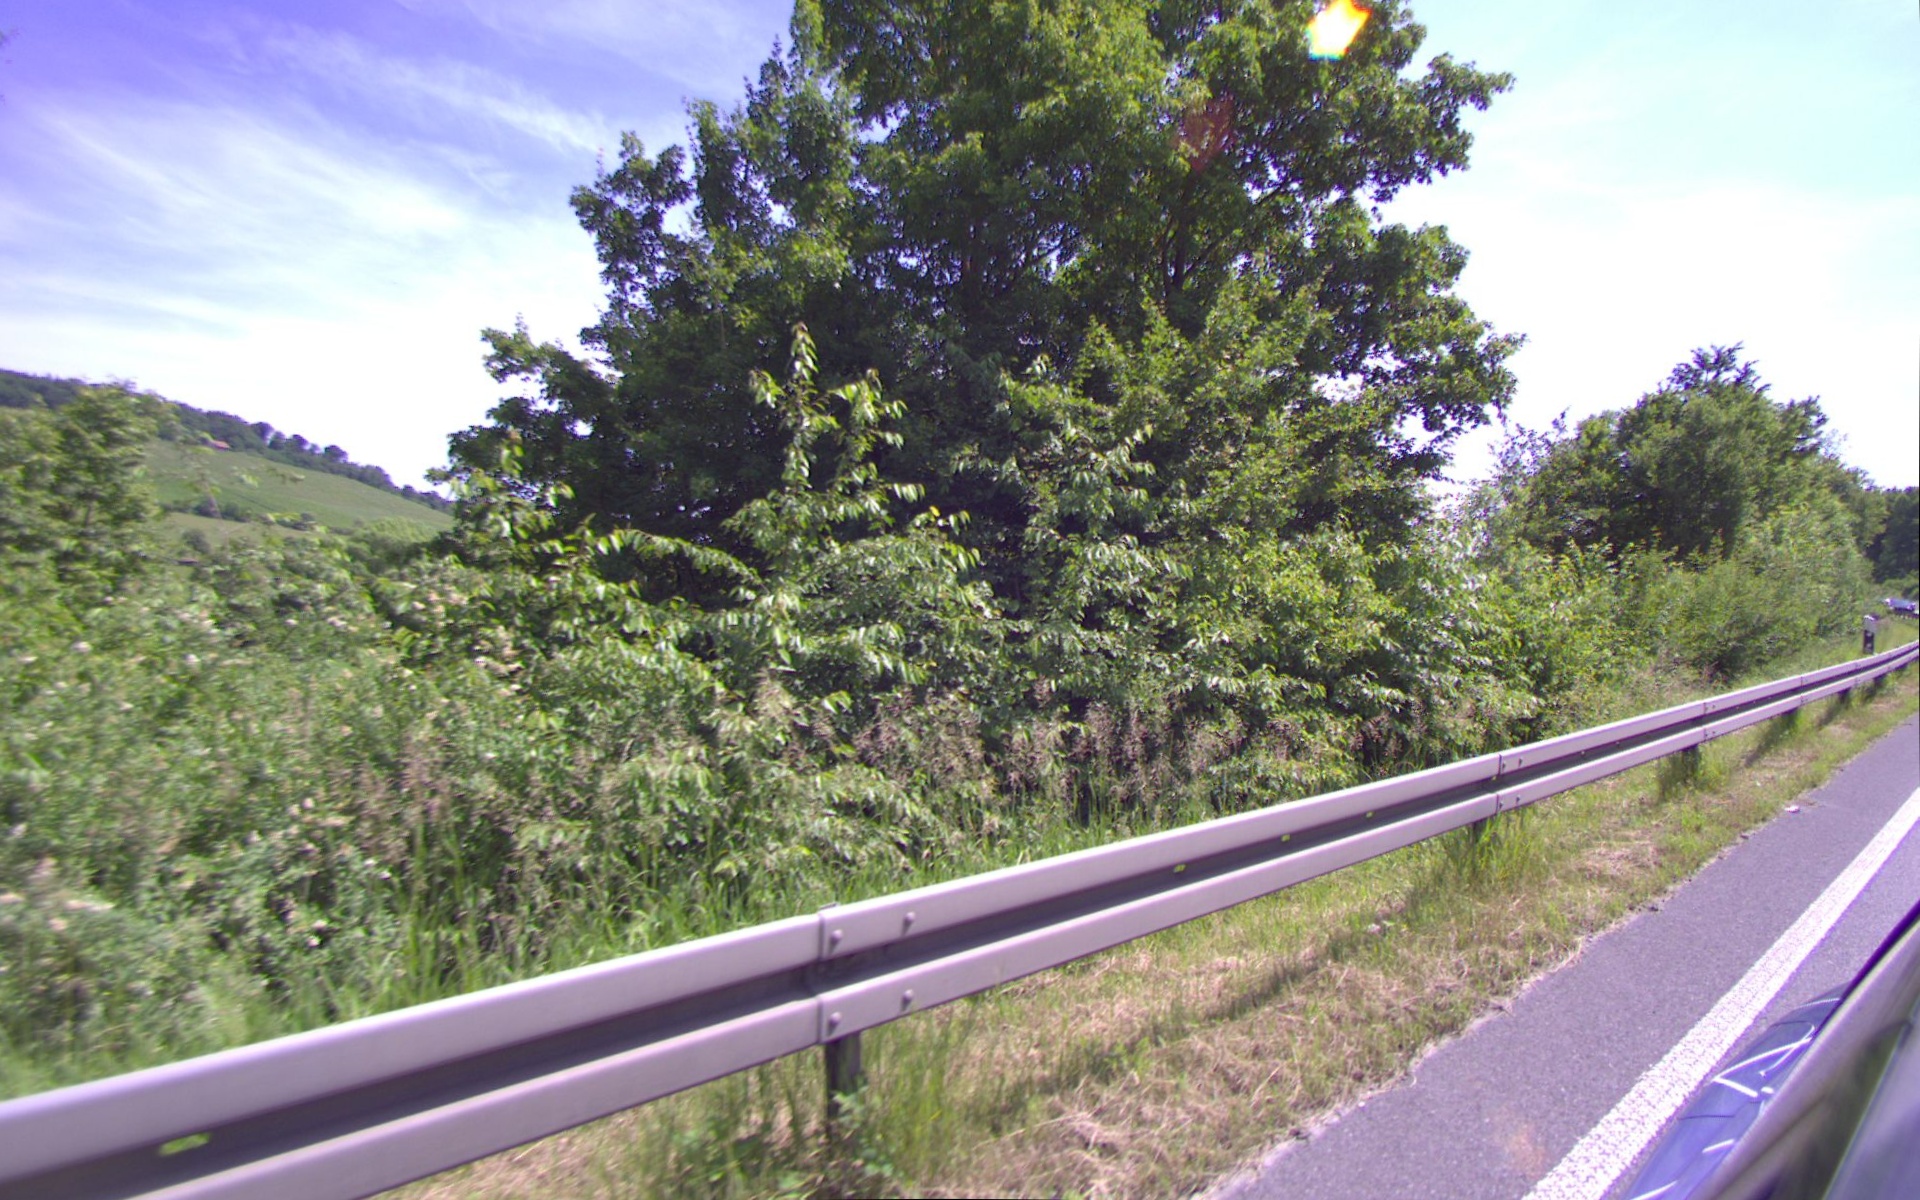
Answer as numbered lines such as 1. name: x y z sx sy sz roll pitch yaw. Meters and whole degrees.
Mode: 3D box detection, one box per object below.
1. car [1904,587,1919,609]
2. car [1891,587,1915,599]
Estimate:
1. car: 90.697 -0.222 95.677 1.992 2.039 3.940 -1 0 42
2. car: 121.865 -0.931 130.836 1.859 1.546 3.838 0 1 37
